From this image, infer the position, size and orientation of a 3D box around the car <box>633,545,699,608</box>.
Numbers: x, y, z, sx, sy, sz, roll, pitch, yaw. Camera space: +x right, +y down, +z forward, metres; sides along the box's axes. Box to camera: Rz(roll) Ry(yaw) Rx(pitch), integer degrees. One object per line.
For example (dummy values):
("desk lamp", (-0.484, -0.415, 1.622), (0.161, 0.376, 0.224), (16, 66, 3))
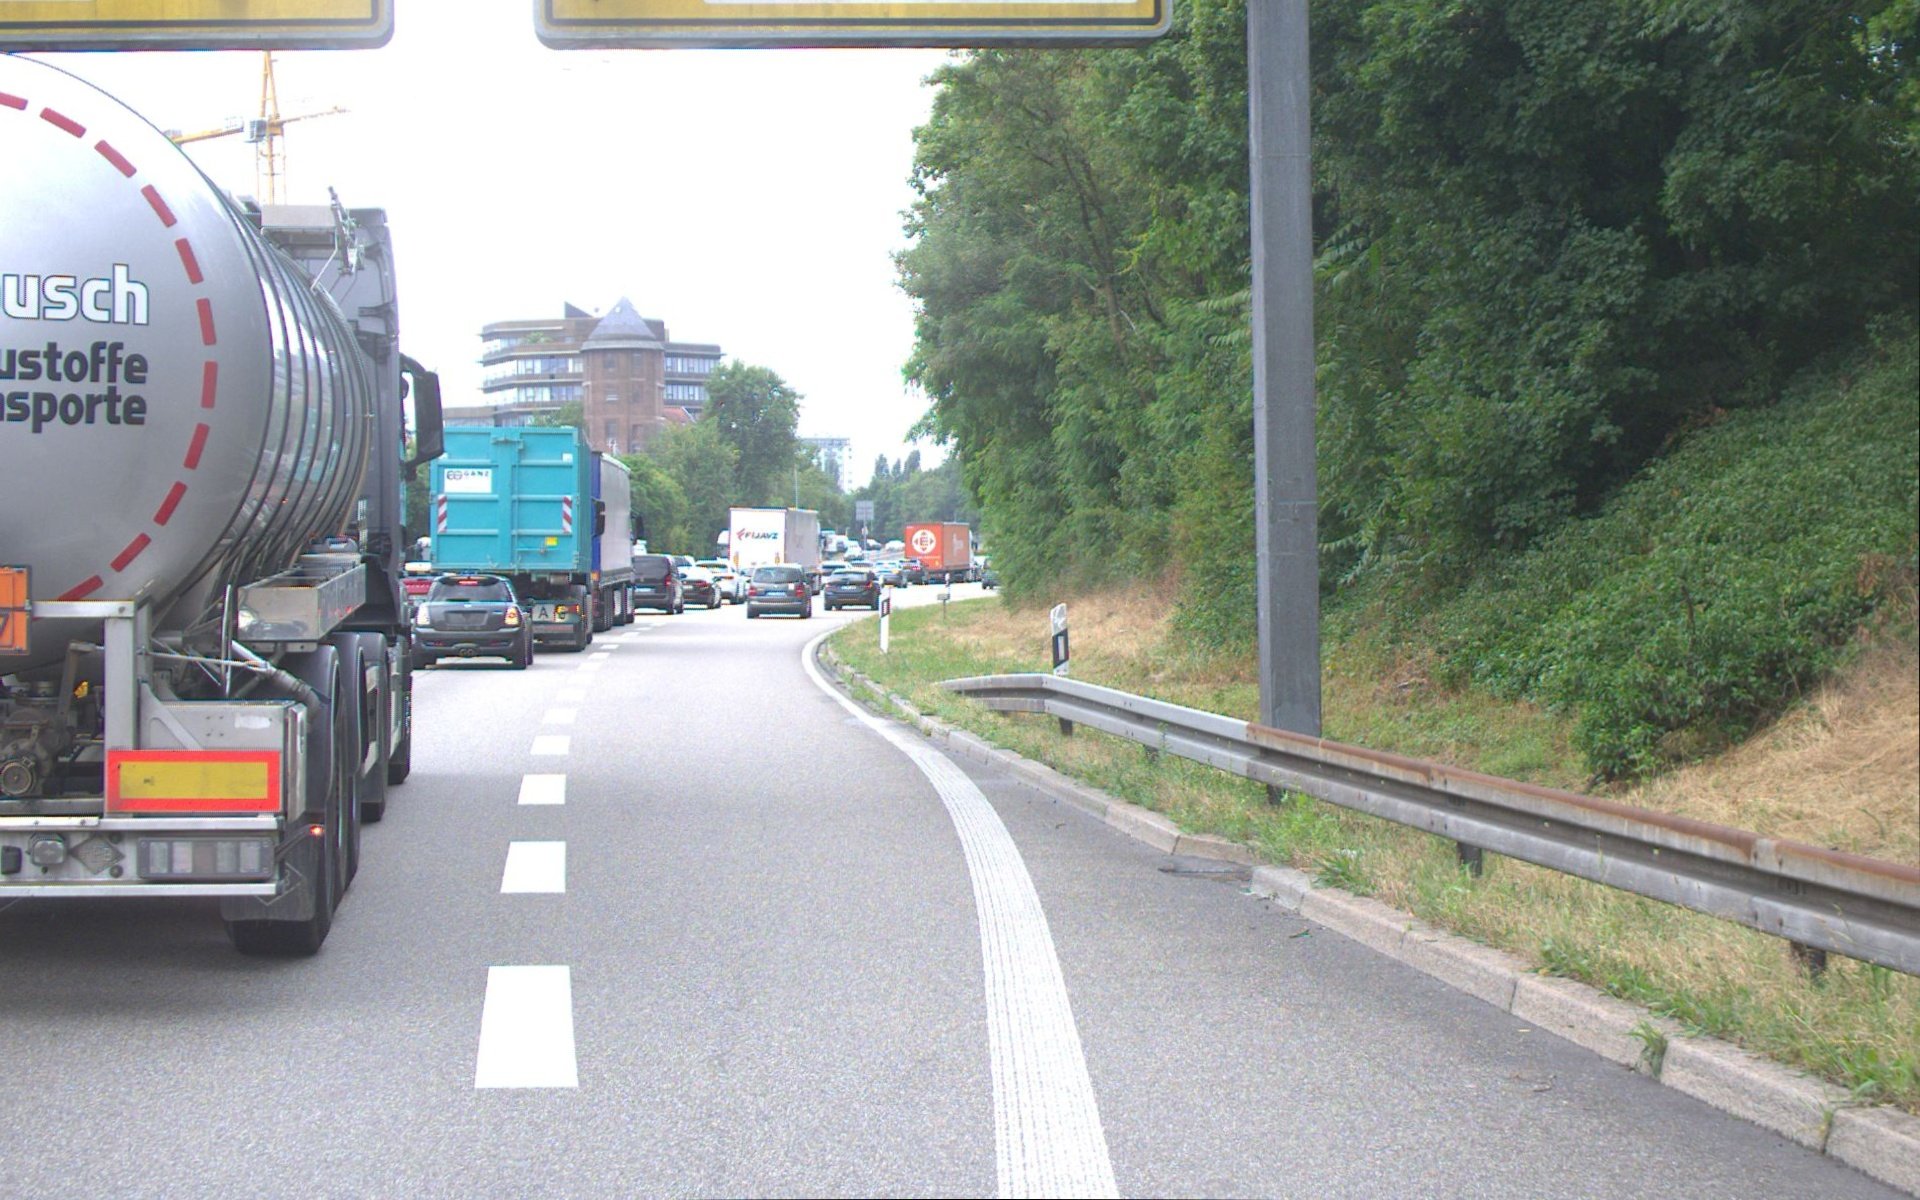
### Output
("car", (-9.256, -0.742, 107.982), (1.987, 1.891, 4.986), (-1, 1, -5))

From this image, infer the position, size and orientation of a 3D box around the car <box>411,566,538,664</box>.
("car", (-7.384, 0.206, 52.511), (1.747, 1.417, 3.664), (-1, 1, -6))

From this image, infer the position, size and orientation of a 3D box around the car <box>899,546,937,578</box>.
("car", (-2.667, -2.414, 216.898), (1.994, 2.007, 3.999), (-1, 1, 5))

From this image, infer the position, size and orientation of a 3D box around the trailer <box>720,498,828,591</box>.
("trailer", (-8.365, -2.436, 156.188), (3.299, 4.022, 13.096), (0, 0, 4))

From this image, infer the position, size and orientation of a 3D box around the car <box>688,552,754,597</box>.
("car", (-9.227, -0.992, 132.864), (1.956, 1.689, 4.865), (-1, 1, 3))

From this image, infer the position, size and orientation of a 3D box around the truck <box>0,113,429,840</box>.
("truck", (-4.903, -0.716, 21.992), (2.682, 3.894, 6.937), (-1, 1, -7))

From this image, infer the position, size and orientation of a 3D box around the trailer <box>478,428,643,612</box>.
("trailer", (-9.334, -1.782, 81.698), (2.626, 4.009, 13.465), (0, 0, -1))

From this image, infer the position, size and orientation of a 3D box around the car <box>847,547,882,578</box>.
("car", (-6.243, -2.465, 225.480), (1.818, 2.007, 3.999), (-1, 1, 4))

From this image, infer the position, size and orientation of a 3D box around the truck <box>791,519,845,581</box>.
("truck", (-9.728, -3.396, 236.743), (2.739, 4.124, 10.696), (0, 0, 3))

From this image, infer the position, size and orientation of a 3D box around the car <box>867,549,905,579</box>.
("car", (-4.246, -2.052, 198.255), (1.717, 1.678, 3.999), (0, 0, 6))

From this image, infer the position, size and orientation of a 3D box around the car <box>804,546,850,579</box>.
("car", (-7.080, -2.019, 183.828), (1.800, 1.598, 4.257), (-2, 1, 6))

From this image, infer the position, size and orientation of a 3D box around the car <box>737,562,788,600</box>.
("car", (-8.211, -0.807, 143.259), (1.764, 1.473, 4.089), (-3, 1, 1))

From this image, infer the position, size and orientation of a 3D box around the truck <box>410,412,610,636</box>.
("truck", (-8.270, -1.386, 64.522), (2.929, 3.783, 11.332), (-1, 1, -4))

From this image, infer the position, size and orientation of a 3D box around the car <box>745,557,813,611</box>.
("car", (-5.277, -0.484, 100.599), (1.825, 1.477, 4.000), (-1, 1, -1))

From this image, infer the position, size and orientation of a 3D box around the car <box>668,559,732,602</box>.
("car", (-9.038, -0.695, 119.889), (1.847, 1.455, 4.831), (-1, 1, 0))

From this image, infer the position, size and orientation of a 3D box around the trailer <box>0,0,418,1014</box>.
("trailer", (-4.166, -0.693, 16.323), (2.682, 3.894, 10.989), (-1, 1, -7))

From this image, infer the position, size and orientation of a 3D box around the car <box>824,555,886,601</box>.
("car", (-3.552, -0.764, 117.146), (1.825, 1.477, 4.000), (-1, 1, 2))

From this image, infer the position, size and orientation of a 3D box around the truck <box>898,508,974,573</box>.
("truck", (-1.521, -3.961, 228.575), (3.490, 4.059, 13.589), (-1, 1, 6))

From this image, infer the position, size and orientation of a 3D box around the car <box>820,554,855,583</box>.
("car", (-6.637, -1.703, 186.605), (1.531, 1.546, 3.418), (-1, 1, 3))
